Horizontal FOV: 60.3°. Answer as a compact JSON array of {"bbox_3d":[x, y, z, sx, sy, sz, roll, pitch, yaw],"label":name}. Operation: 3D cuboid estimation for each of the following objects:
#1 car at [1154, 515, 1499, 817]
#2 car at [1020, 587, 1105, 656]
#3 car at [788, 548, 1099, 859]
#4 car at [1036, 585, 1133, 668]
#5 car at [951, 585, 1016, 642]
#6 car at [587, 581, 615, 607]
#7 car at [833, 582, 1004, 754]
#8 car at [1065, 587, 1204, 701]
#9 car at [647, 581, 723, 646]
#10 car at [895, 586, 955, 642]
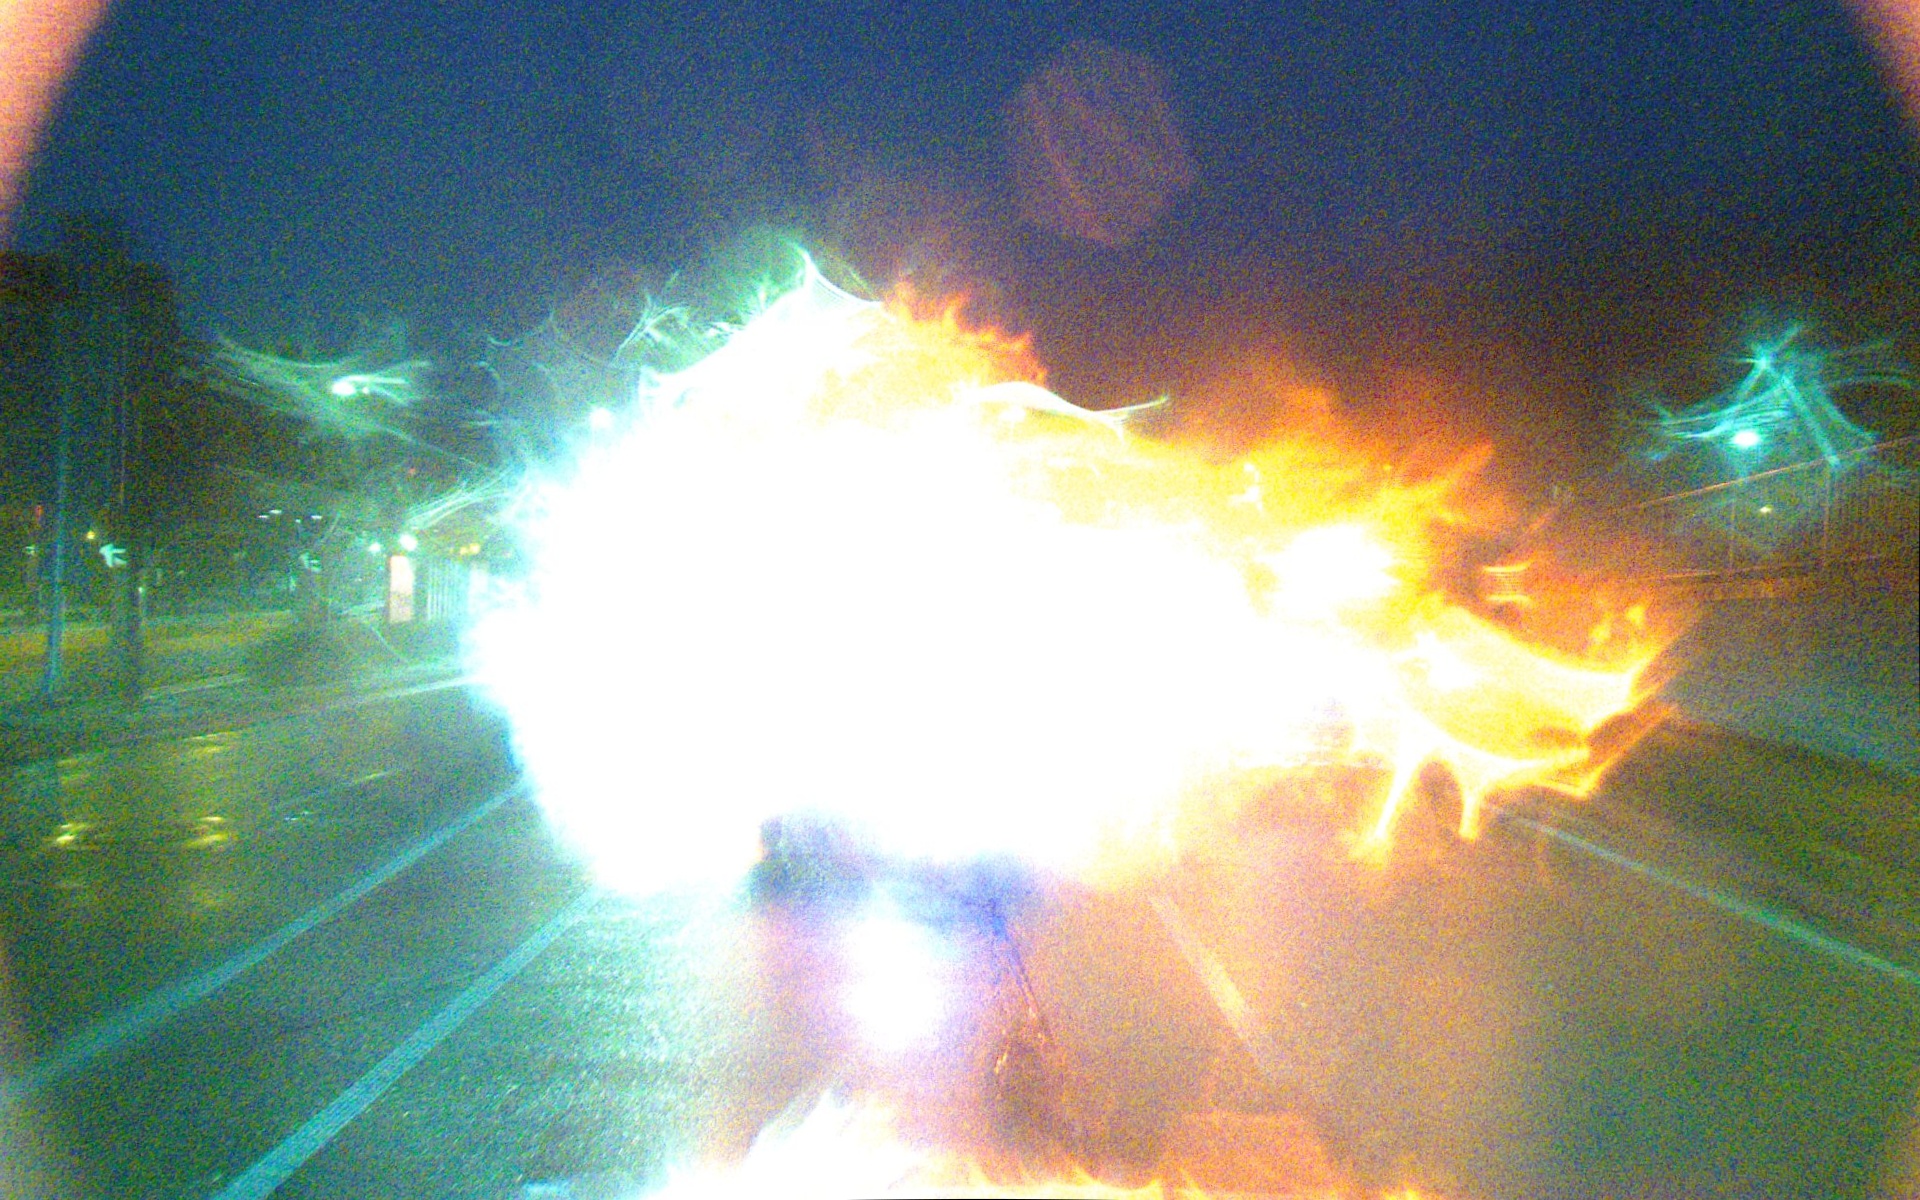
[{"bbox_3d":[2.699,0.415,13.190,1.902,2.006,4.219,0,1,1],"label":"car"},{"bbox_3d":[2.313,0.458,38.287,1.629,1.475,4.049,0,1,-1],"label":"car"},{"bbox_3d":[-0.113,0.564,10.864,1.660,1.658,3.852,1,0,-1],"label":"car"},{"bbox_3d":[2.332,0.484,31.751,1.629,1.475,4.050,0,0,1],"label":"car"},{"bbox_3d":[0.614,0.364,45.305,1.629,1.475,4.049,0,0,-1],"label":"car"},{"bbox_3d":[-27.339,-0.499,126.027,1.958,1.945,4.729,0,0,-12],"label":"car"},{"bbox_3d":[-0.424,0.652,18.310,1.674,1.666,3.730,-1,1,0],"label":"car"},{"bbox_3d":[2.441,0.571,23.993,1.731,1.475,4.220,0,1,2],"label":"car"},{"bbox_3d":[-8.533,0.388,51.665,1.954,1.945,4.738,0,0,-5],"label":"car"},{"bbox_3d":[-1.141,0.419,52.548,1.675,1.666,3.727,-1,1,-4],"label":"car"}]
